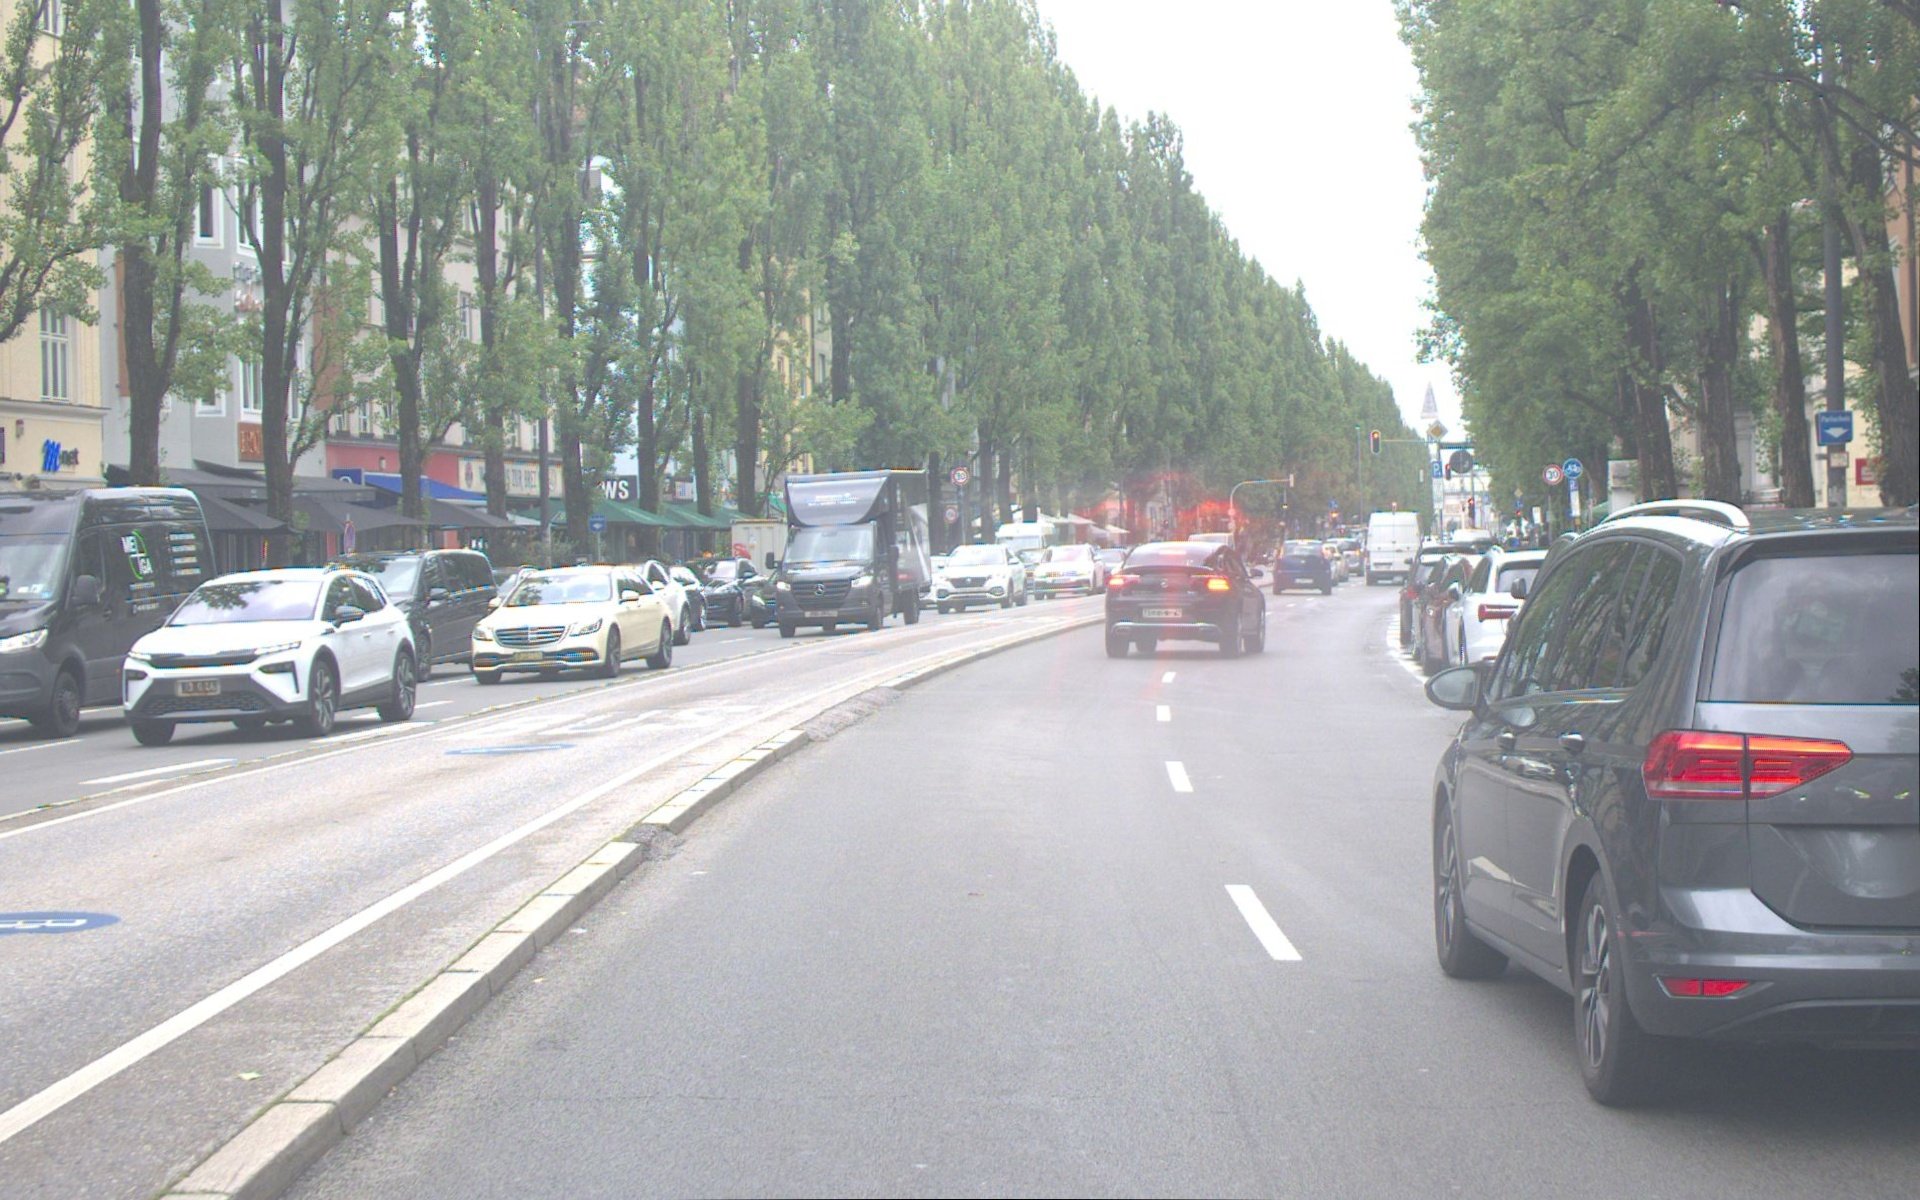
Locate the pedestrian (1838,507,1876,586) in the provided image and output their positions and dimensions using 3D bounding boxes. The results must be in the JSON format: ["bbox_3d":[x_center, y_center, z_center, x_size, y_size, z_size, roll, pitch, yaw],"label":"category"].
[{"bbox_3d":[18.535,-1.113,71.036,0.673,1.607,0.640,-2,1,11],"label":"pedestrian"}]

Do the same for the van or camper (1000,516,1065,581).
[{"bbox_3d":[2.847,-2.017,134.140,1.994,2.450,4.250,-1,1,8],"label":"van or camper"}]

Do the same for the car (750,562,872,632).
[{"bbox_3d":[-3.331,-0.093,77.642,1.940,1.429,4.537,-2,1,8],"label":"car"}]

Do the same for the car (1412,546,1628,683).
[{"bbox_3d":[6.466,0.120,40.172,1.931,1.445,4.804,-2,1,3],"label":"car"}]

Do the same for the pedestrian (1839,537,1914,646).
[{"bbox_3d":[13.481,-0.131,50.591,0.834,1.571,0.938,-2,1,1],"label":"pedestrian"}]

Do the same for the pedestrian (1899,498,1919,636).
[{"bbox_3d":[13.340,-0.464,46.865,0.817,1.863,0.938,-2,1,5],"label":"pedestrian"}]

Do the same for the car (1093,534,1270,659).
[{"bbox_3d":[3.221,-0.082,49.108,1.881,1.636,4.581,-1,1,12],"label":"car"}]

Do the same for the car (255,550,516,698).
[{"bbox_3d":[-8.145,0.289,49.345,1.994,1.857,5.710,-3,1,8],"label":"car"}]

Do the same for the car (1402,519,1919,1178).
[{"bbox_3d":[2.519,0.571,10.504,1.761,1.608,4.184,0,1,0],"label":"car"}]

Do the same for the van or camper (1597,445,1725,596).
[{"bbox_3d":[15.252,-1.735,75.061,2.461,3.101,4.714,-2,1,9],"label":"van or camper"}]

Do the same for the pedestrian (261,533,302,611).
[{"bbox_3d":[-15.024,-0.622,76.140,0.638,1.694,0.647,-2,1,8],"label":"pedestrian"}]

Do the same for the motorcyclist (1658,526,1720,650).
[{"bbox_3d":[8.445,-0.147,39.841,0.564,1.401,0.766,-2,1,5],"label":"motorcyclist"}]

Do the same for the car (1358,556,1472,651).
[{"bbox_3d":[7.383,0.028,56.031,1.734,1.389,4.432,-2,1,7],"label":"car"}]

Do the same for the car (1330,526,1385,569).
[{"bbox_3d":[16.904,-2.247,145.995,1.994,1.711,3.998,-2,1,10],"label":"car"}]

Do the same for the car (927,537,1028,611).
[{"bbox_3d":[0.469,-0.664,85.824,1.861,1.705,4.535,-2,1,8],"label":"car"}]

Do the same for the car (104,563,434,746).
[{"bbox_3d":[-6.753,0.486,34.083,1.910,1.597,4.354,-2,1,7],"label":"car"}]

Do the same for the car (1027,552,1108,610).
[{"bbox_3d":[3.307,-0.612,105.017,1.940,1.636,4.462,-2,1,8],"label":"car"}]

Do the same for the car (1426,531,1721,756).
[{"bbox_3d":[4.940,0.314,28.238,1.925,1.694,4.649,0,0,4],"label":"car"}]

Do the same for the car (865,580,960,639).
[{"bbox_3d":[-1.284,0.249,95.468,1.940,1.488,4.455,-2,1,8],"label":"car"}]

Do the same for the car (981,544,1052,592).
[{"bbox_3d":[1.964,-1.105,118.399,1.849,1.559,4.210,-2,0,9],"label":"car"}]

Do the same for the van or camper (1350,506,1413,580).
[{"bbox_3d":[14.815,-1.977,120.623,2.035,2.467,3.998,-1,0,8],"label":"van or camper"}]

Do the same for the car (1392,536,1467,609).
[{"bbox_3d":[10.753,-0.645,78.696,1.624,1.560,4.370,-1,1,8],"label":"car"}]

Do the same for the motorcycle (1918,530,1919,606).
[{"bbox_3d":[11.319,-0.113,37.783,0.685,1.351,1.644,-2,1,-19],"label":"motorcycle"}]

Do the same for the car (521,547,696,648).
[{"bbox_3d":[-6.273,-0.080,61.884,1.994,1.645,4.635,-2,1,8],"label":"car"}]

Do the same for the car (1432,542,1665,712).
[{"bbox_3d":[5.758,0.212,34.117,1.810,1.495,4.805,-2,1,5],"label":"car"}]

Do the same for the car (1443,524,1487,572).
[{"bbox_3d":[21.125,-2.163,143.725,1.805,1.985,3.999,0,0,8],"label":"car"}]

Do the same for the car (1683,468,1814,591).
[{"bbox_3d":[15.919,-1.436,69.258,1.903,2.320,4.820,-2,1,20],"label":"car"}]

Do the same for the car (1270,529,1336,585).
[{"bbox_3d":[10.098,-1.256,101.117,1.760,1.614,3.746,0,0,8],"label":"car"}]

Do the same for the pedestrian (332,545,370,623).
[{"bbox_3d":[-14.620,-0.385,82.539,0.638,1.855,0.647,-2,1,8],"label":"pedestrian"}]

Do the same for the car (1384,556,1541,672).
[{"bbox_3d":[6.726,0.159,46.376,1.847,1.423,4.425,-1,1,5],"label":"car"}]

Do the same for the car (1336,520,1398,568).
[{"bbox_3d":[15.376,-2.142,129.705,1.994,1.711,3.998,-2,1,10],"label":"car"}]

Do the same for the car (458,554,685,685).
[{"bbox_3d":[-5.318,0.221,47.770,1.994,1.583,5.194,-3,1,6],"label":"car"}]

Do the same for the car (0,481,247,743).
[{"bbox_3d":[-9.818,0.082,37.272,2.170,2.596,6.062,-2,1,7],"label":"car"}]

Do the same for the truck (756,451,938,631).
[{"bbox_3d":[-2.163,-1.186,68.535,2.292,3.311,7.155,-2,1,8],"label":"truck"}]
